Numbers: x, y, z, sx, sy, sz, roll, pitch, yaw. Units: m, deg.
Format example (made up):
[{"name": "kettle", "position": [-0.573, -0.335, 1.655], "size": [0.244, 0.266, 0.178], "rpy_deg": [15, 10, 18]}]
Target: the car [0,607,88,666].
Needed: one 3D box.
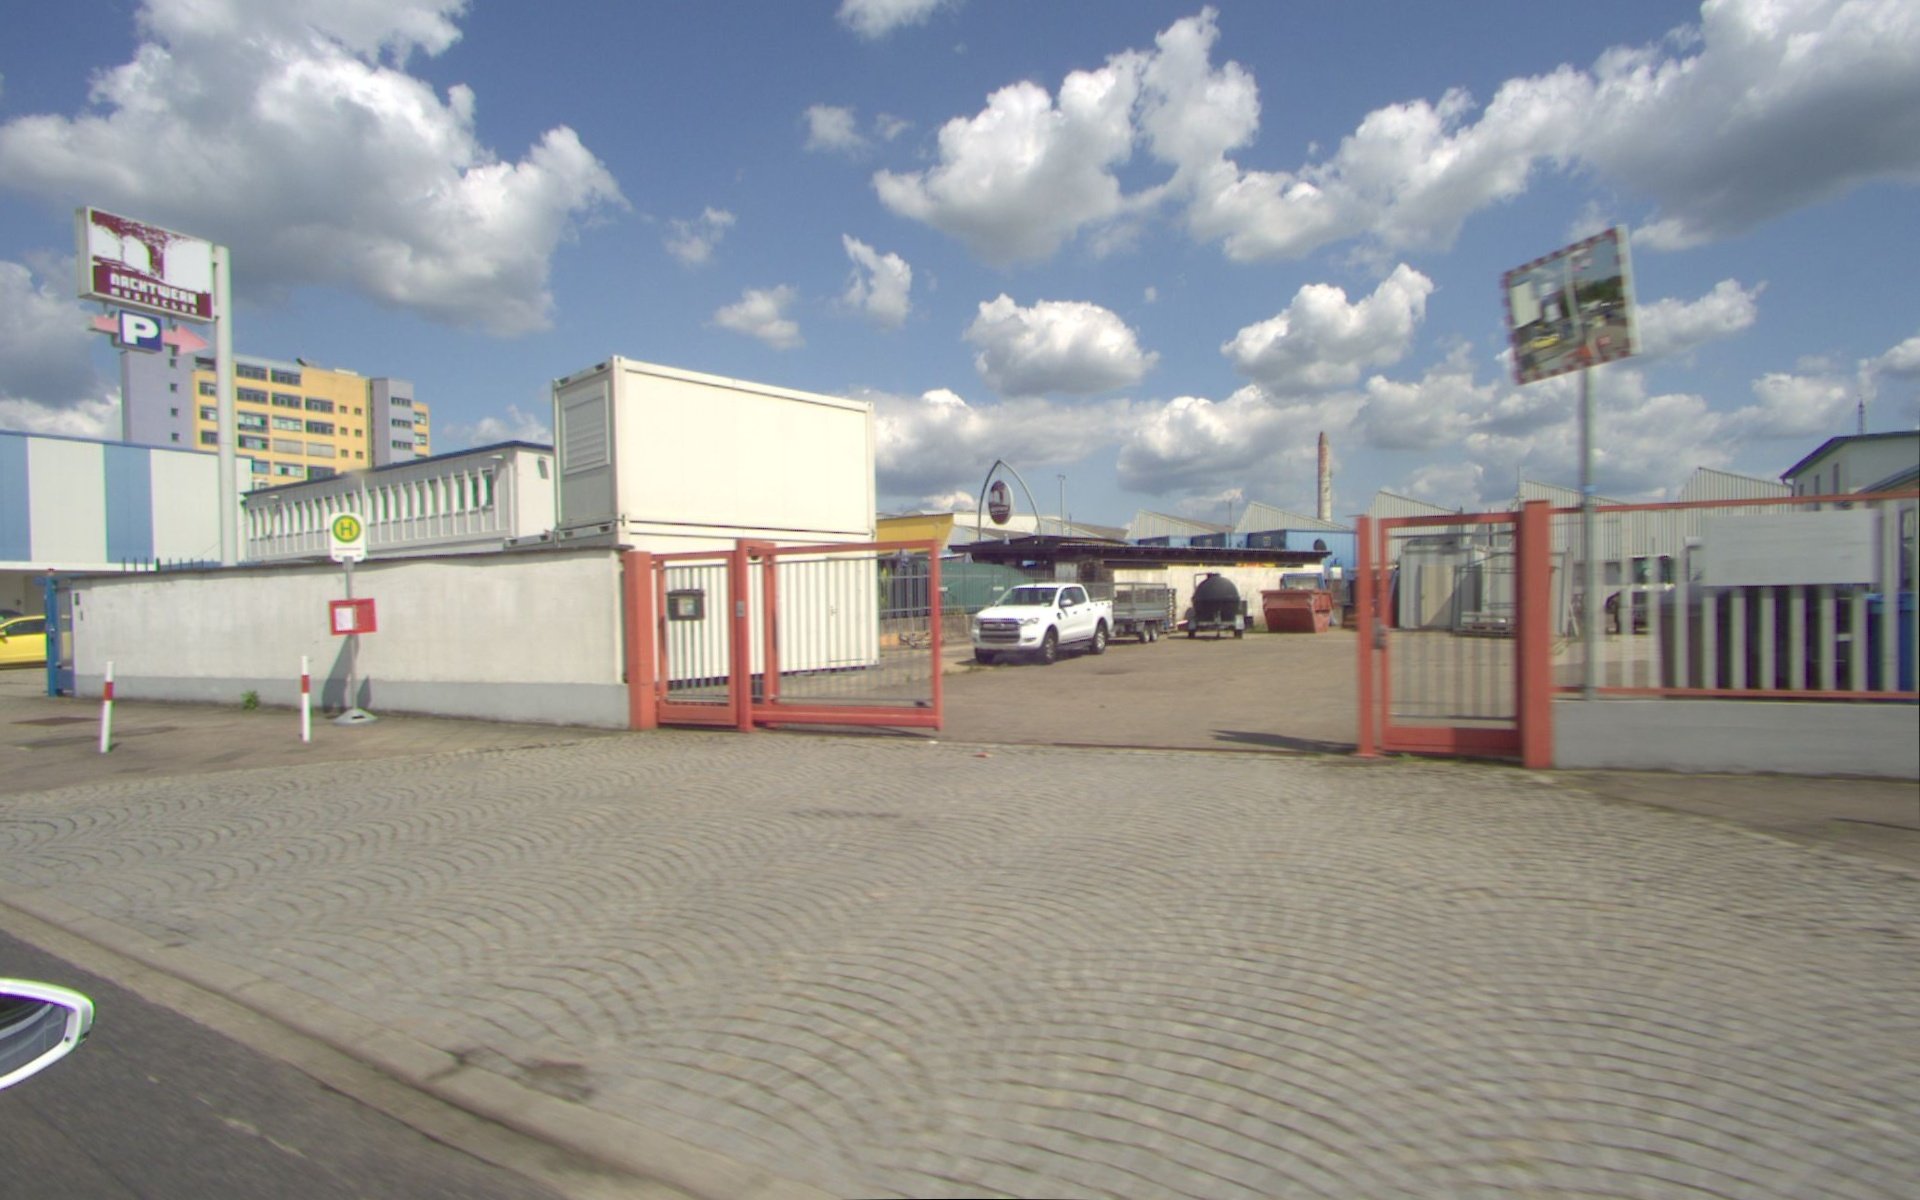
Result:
[{"name": "car", "position": [-28.401, 1.072, 29.472], "size": [1.766, 1.702, 3.799], "rpy_deg": [-1, -1, 32]}]

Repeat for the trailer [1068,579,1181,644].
[{"name": "trailer", "position": [4.961, 0.302, 29.617], "size": [1.968, 1.767, 4.732], "rpy_deg": [-1, 0, 27]}]

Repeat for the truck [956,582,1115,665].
[{"name": "truck", "position": [1.963, 0.488, 24.042], "size": [1.968, 1.767, 5.187], "rpy_deg": [-1, 0, 27]}]

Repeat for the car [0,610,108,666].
[{"name": "car", "position": [-26.468, 1.068, 28.209], "size": [1.766, 1.509, 3.397], "rpy_deg": [-1, -1, 32]}]

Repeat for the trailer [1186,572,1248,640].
[{"name": "trailer", "position": [8.055, 0.160, 31.550], "size": [1.721, 1.966, 4.745], "rpy_deg": [-1, 0, 13]}]

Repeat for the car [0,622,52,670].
[{"name": "car", "position": [-30.724, 1.453, 30.656], "size": [1.972, 1.439, 3.977], "rpy_deg": [-1, 0, 33]}]

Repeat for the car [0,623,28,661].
[{"name": "car", "position": [-38.019, 1.630, 37.457], "size": [1.972, 1.439, 4.269], "rpy_deg": [-1, 0, 33]}]

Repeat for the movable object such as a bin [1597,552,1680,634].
[{"name": "movable object such as a bin", "position": [21.935, -0.189, 32.509], "size": [1.971, 2.477, 3.823], "rpy_deg": [-1, 0, 30]}]
